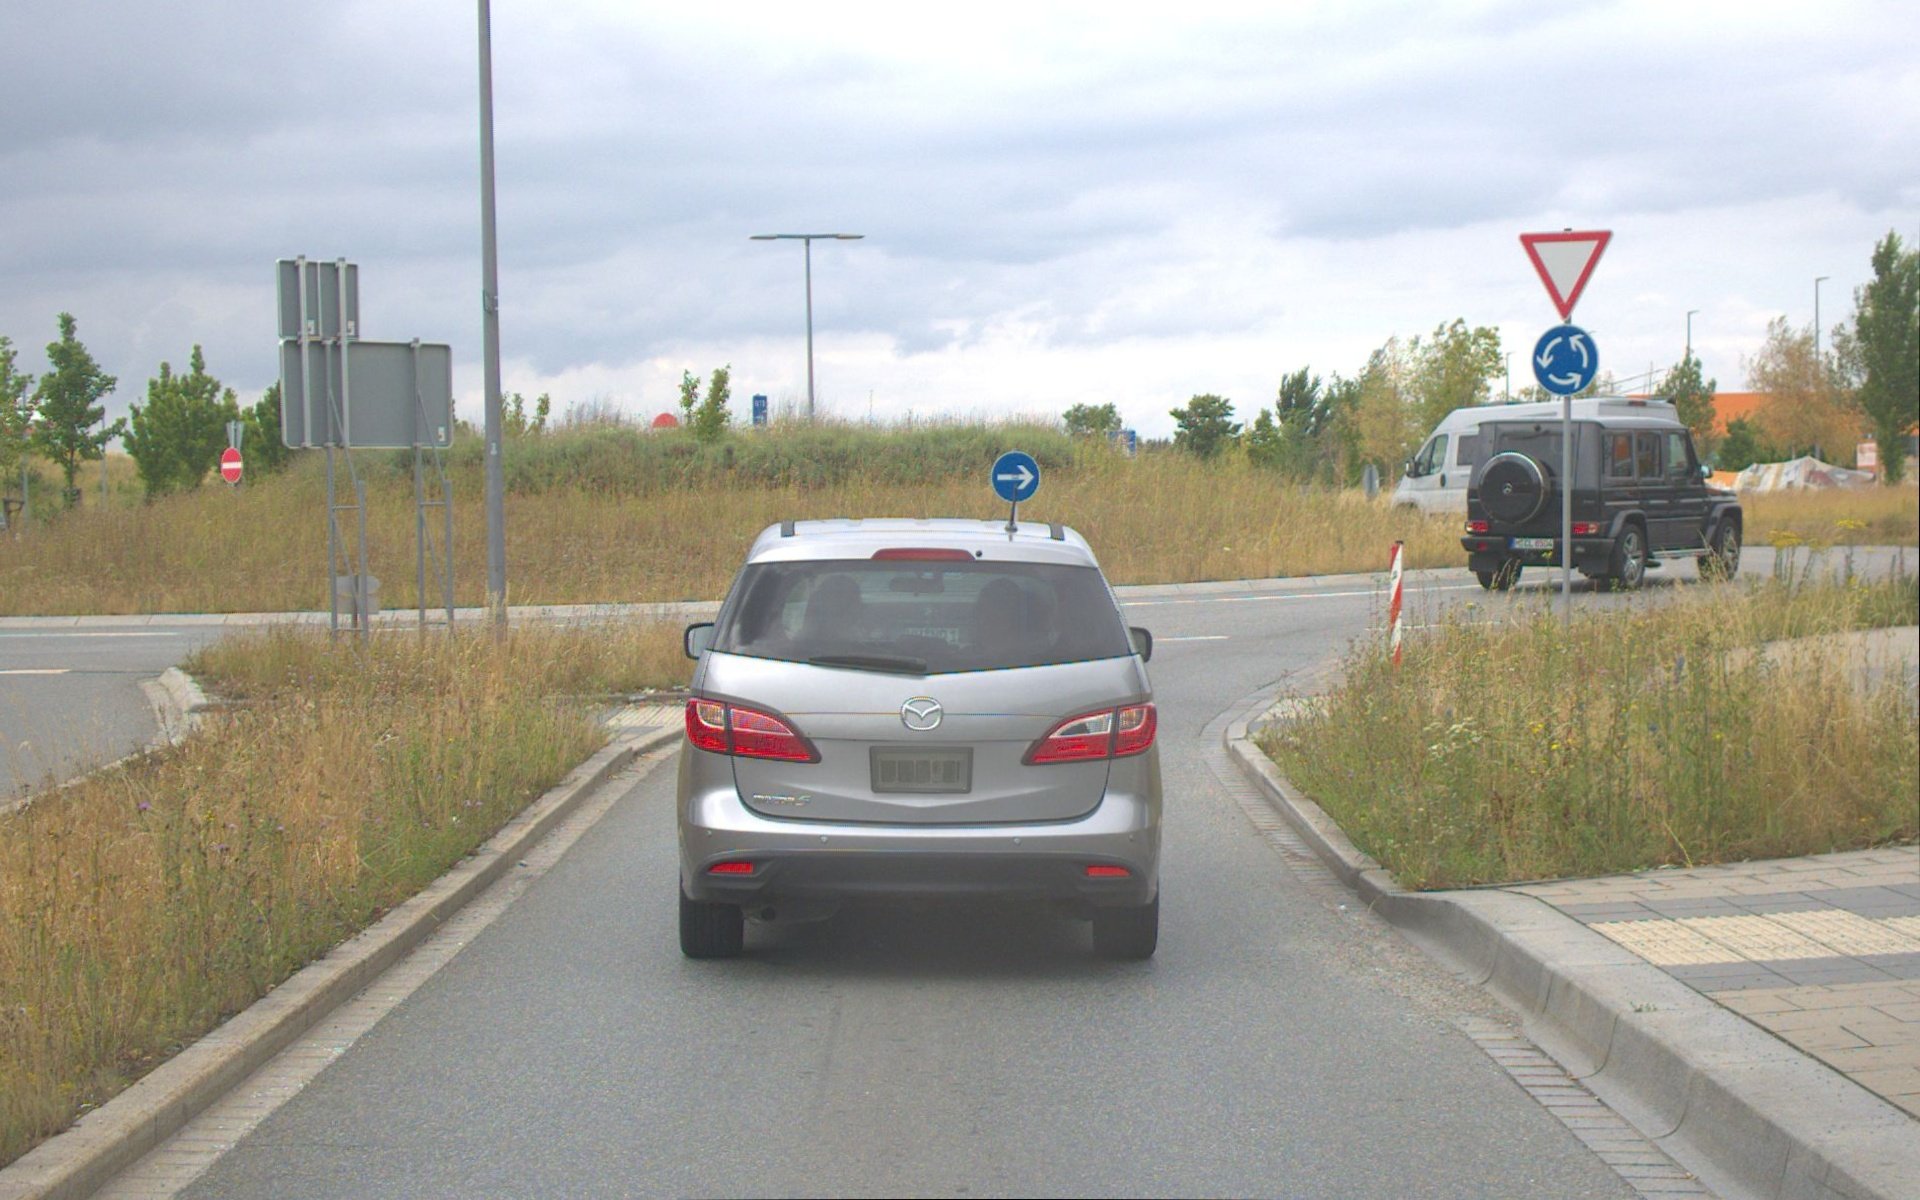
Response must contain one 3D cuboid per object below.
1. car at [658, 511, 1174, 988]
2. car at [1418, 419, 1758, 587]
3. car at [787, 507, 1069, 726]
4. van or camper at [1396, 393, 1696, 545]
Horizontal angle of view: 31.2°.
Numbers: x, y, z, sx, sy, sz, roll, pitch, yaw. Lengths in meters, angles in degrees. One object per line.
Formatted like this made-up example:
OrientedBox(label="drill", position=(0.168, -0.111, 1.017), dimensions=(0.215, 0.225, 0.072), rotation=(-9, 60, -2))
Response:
OrientedBox(label="car", position=(-0.189, 0.456, 13.476), dimensions=(1.729, 1.594, 3.807), rotation=(0, 2, -1))
OrientedBox(label="car", position=(7.349, -1.104, 39.852), dimensions=(2.062, 1.819, 4.776), rotation=(0, 1, 35))
OrientedBox(label="car", position=(-0.155, 0.055, 24.951), dimensions=(1.845, 1.413, 4.225), rotation=(-1, 2, 2))
OrientedBox(label="van or camper", position=(10.076, -2.233, 59.543), dimensions=(2.302, 2.497, 5.206), rotation=(-1, 2, -30))
